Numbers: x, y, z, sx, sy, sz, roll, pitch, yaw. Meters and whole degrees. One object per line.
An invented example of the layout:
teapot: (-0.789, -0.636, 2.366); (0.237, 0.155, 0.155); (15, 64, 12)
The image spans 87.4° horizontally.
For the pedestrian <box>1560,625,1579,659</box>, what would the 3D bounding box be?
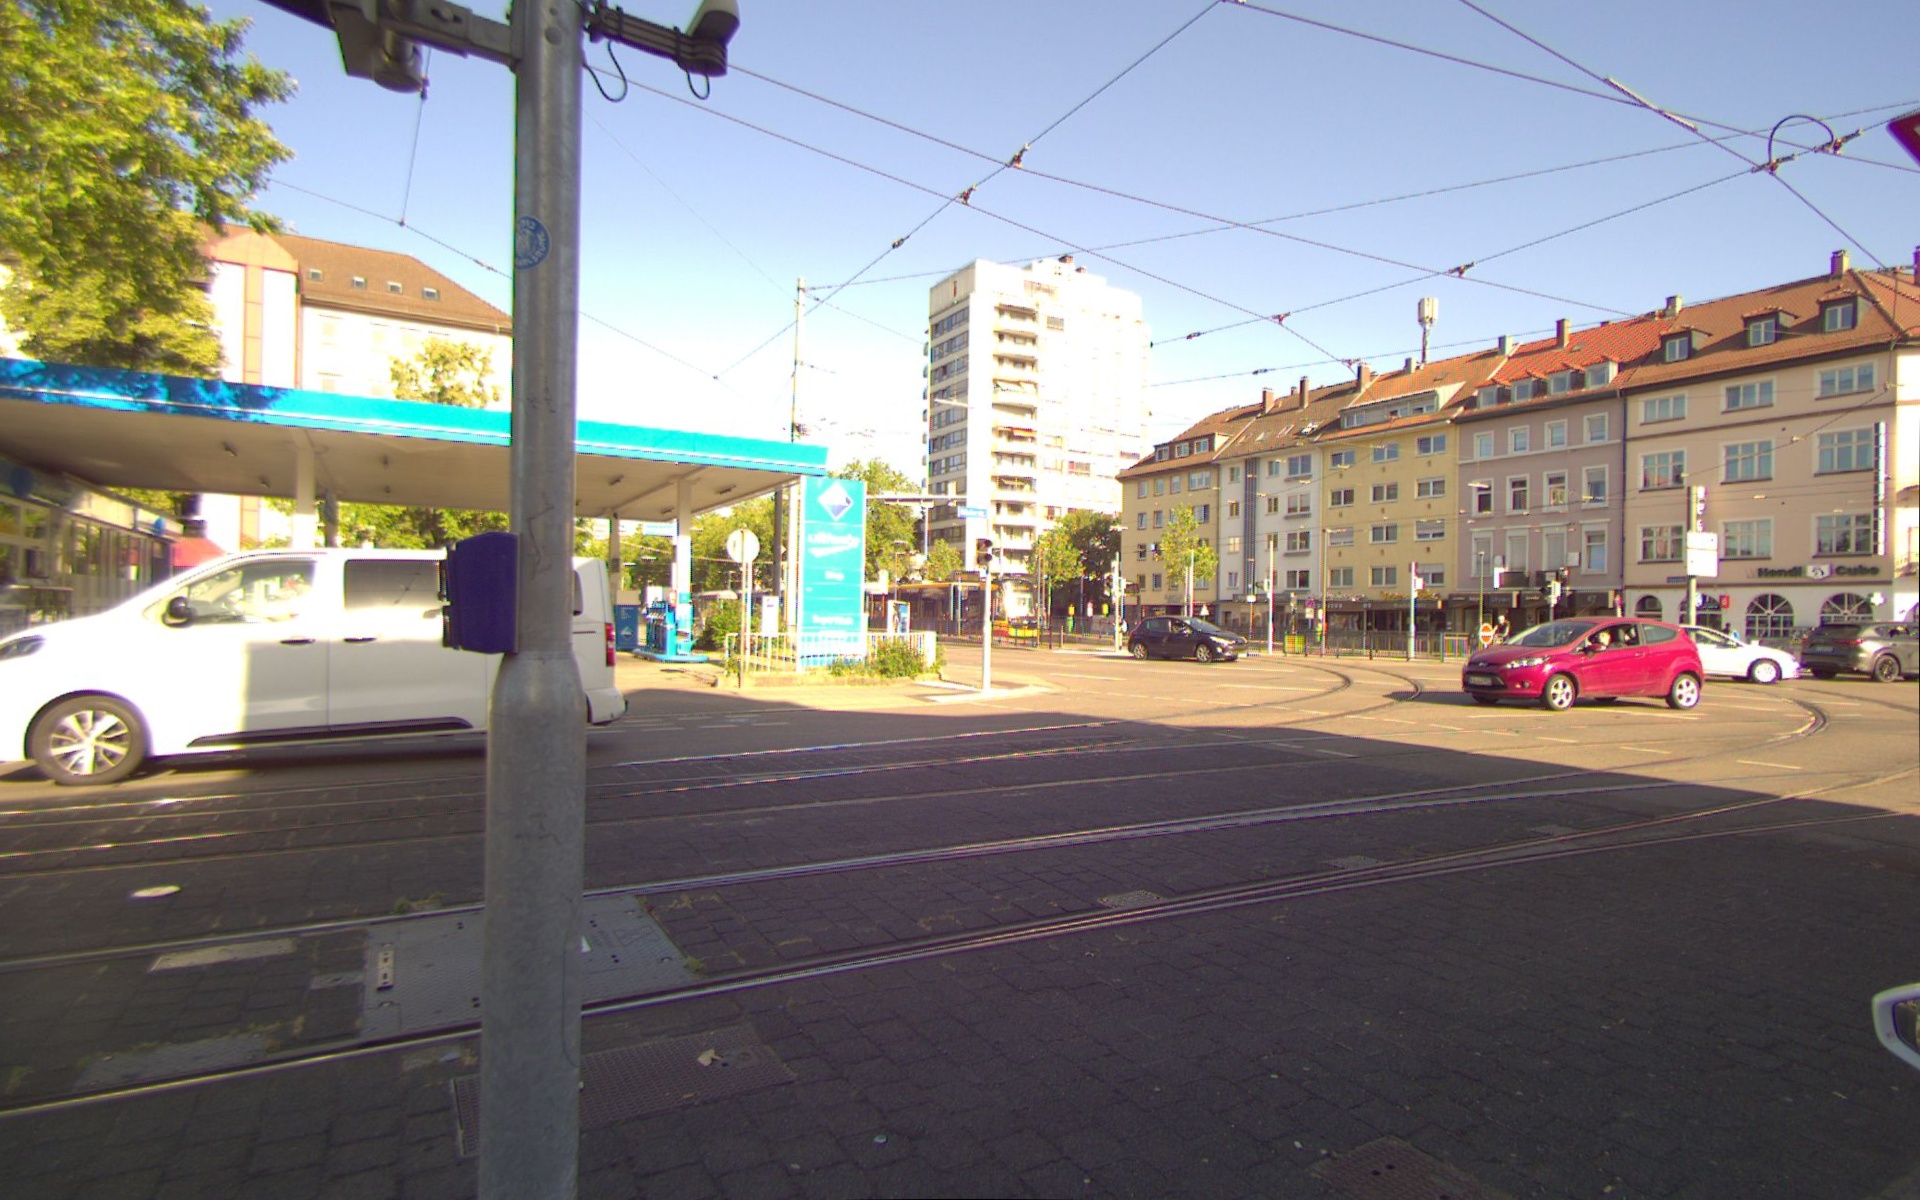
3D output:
pedestrian: (30.625, 2.102, 50.495); (0.609, 1.670, 0.581); (2, 0, -30)

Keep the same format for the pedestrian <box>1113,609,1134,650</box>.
pedestrian: (6.700, 1.207, 41.055); (0.750, 1.631, 0.613); (2, 0, 15)

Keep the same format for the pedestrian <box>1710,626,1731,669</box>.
pedestrian: (32.960, 2.047, 43.549); (0.670, 1.847, 0.523); (2, 0, -37)

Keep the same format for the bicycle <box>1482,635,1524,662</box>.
bicycle: (22.502, 2.008, 41.611); (1.731, 1.044, 0.619); (2, 0, -25)

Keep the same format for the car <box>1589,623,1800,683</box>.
car: (18.983, 1.340, 26.183); (4.147, 1.408, 1.734); (0, -1, 24)

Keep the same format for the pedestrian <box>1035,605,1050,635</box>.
pedestrian: (6.099, 1.479, 74.397); (0.729, 2.127, 0.880); (2, 0, -21)

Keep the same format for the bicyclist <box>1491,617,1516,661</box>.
bicyclist: (22.530, 1.618, 41.620); (0.606, 1.814, 0.619); (2, 0, -25)

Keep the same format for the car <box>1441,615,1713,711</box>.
car: (10.132, 0.991, 16.556); (3.815, 1.445, 1.591); (1, 0, -13)

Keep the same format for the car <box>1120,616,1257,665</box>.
car: (7.639, 1.300, 33.824); (1.986, 1.537, 4.156); (1, -1, -43)

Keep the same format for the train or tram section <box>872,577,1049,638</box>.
train or tram section: (-0.543, 0.340, 60.216); (2.821, 3.179, 16.611); (2, 0, -29)

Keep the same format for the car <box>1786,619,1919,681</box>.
car: (25.894, 1.387, 28.050); (4.371, 1.623, 1.872); (1, -1, -7)

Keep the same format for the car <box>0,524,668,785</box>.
car: (-5.516, 0.486, 9.214); (5.154, 1.878, 1.985); (1, -4, -30)
